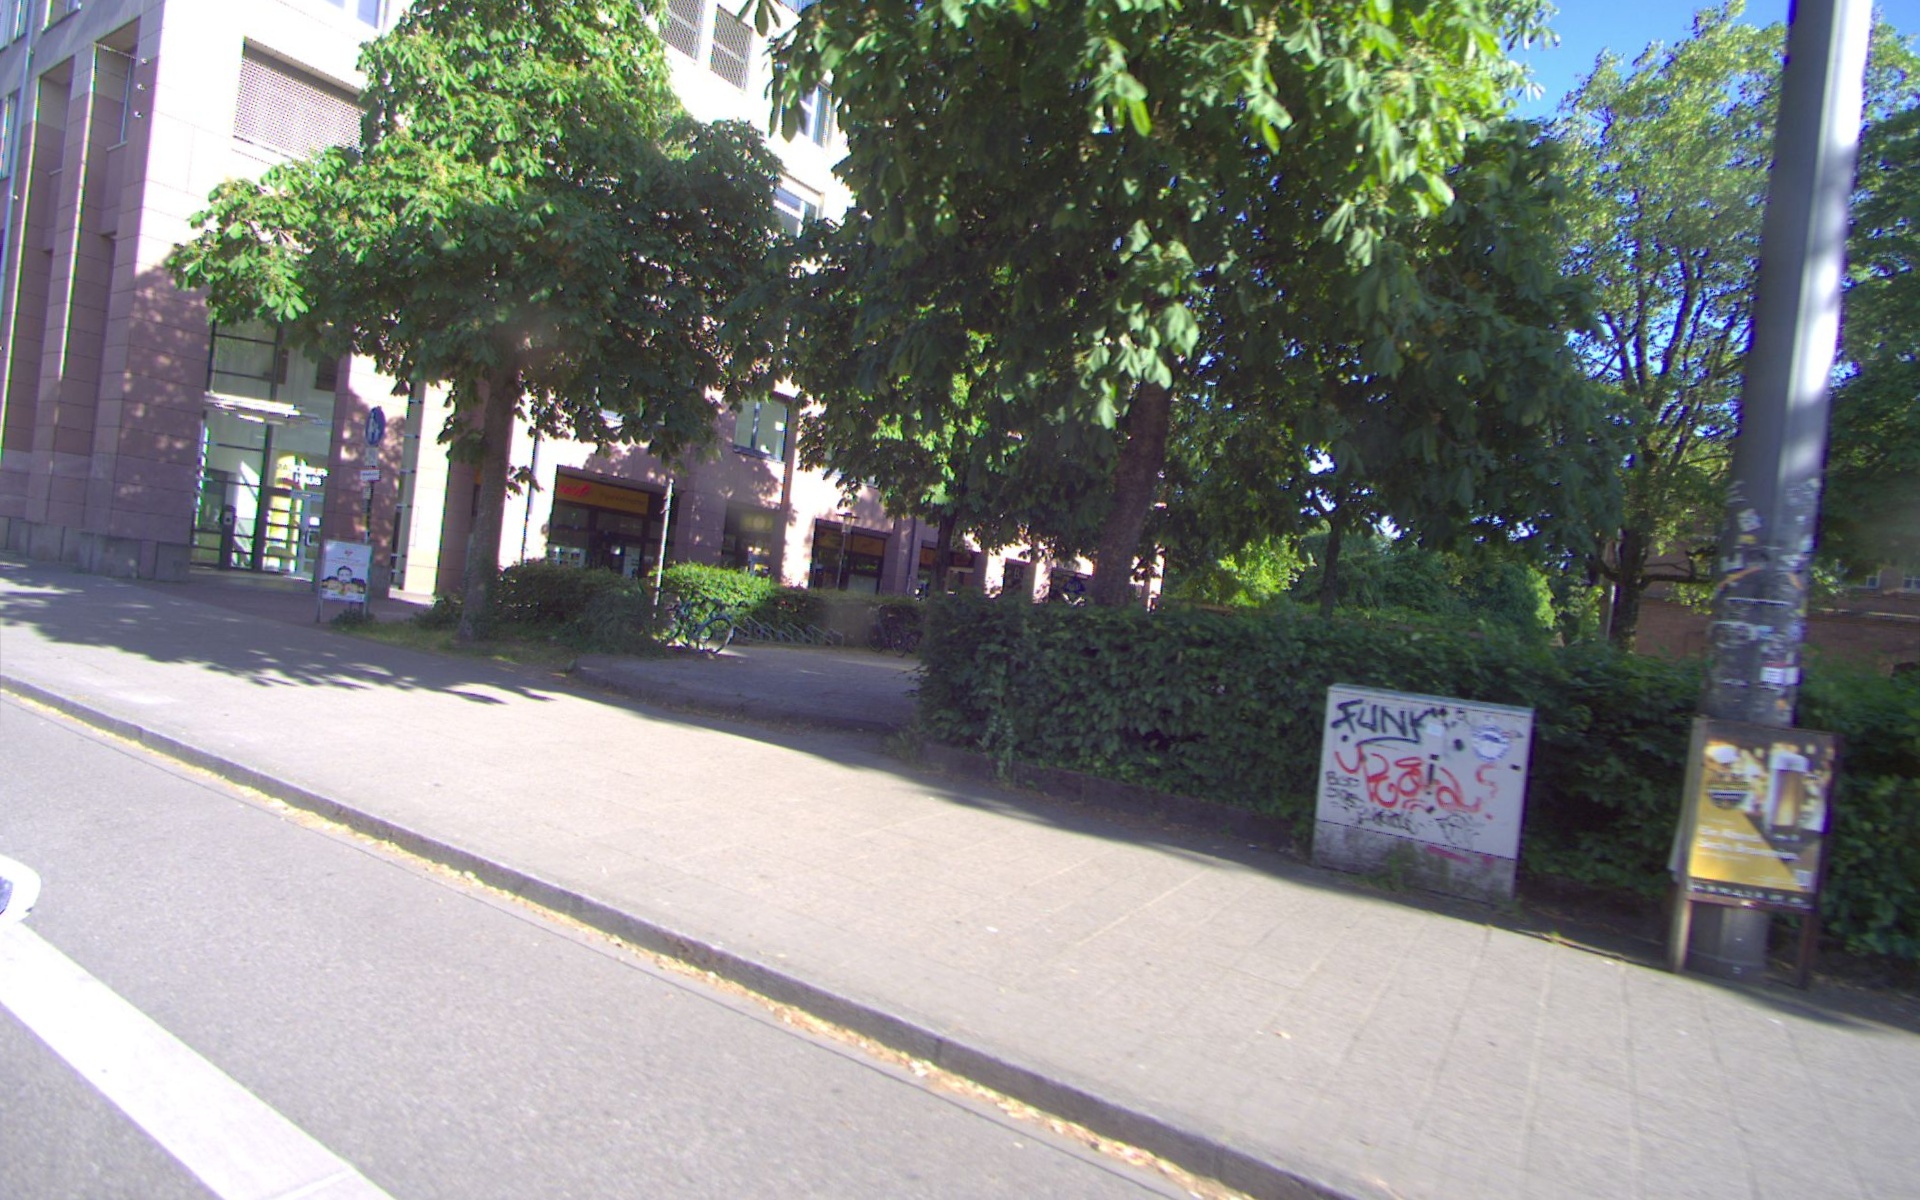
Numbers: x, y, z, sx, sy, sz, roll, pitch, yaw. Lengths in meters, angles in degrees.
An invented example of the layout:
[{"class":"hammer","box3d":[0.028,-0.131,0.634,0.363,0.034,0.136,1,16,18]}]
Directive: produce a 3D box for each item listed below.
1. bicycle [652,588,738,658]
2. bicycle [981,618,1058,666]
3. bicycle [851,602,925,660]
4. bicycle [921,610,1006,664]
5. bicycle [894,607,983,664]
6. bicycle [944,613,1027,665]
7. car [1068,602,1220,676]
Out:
[{"class":"bicycle","box3d":[-4.571,0.367,17.234,0.417,1.009,2.196,6,-1,-41]},{"class":"bicycle","box3d":[1.706,1.212,29.194,2.094,1.143,0.452,7,-1,26]},{"class":"bicycle","box3d":[-1.703,0.706,23.408,0.449,1.143,2.109,8,-2,-40]},{"class":"bicycle","box3d":[0.082,0.952,26.054,2.094,1.143,0.452,7,-1,26]},{"class":"bicycle","box3d":[-0.542,0.864,24.916,2.094,1.143,0.452,7,-1,26]},{"class":"bicycle","box3d":[0.678,1.051,27.185,2.094,1.143,0.452,7,-1,26]},{"class":"car","box3d":[6.602,1.393,36.418,5.117,2.038,1.229,7,0,29]}]
